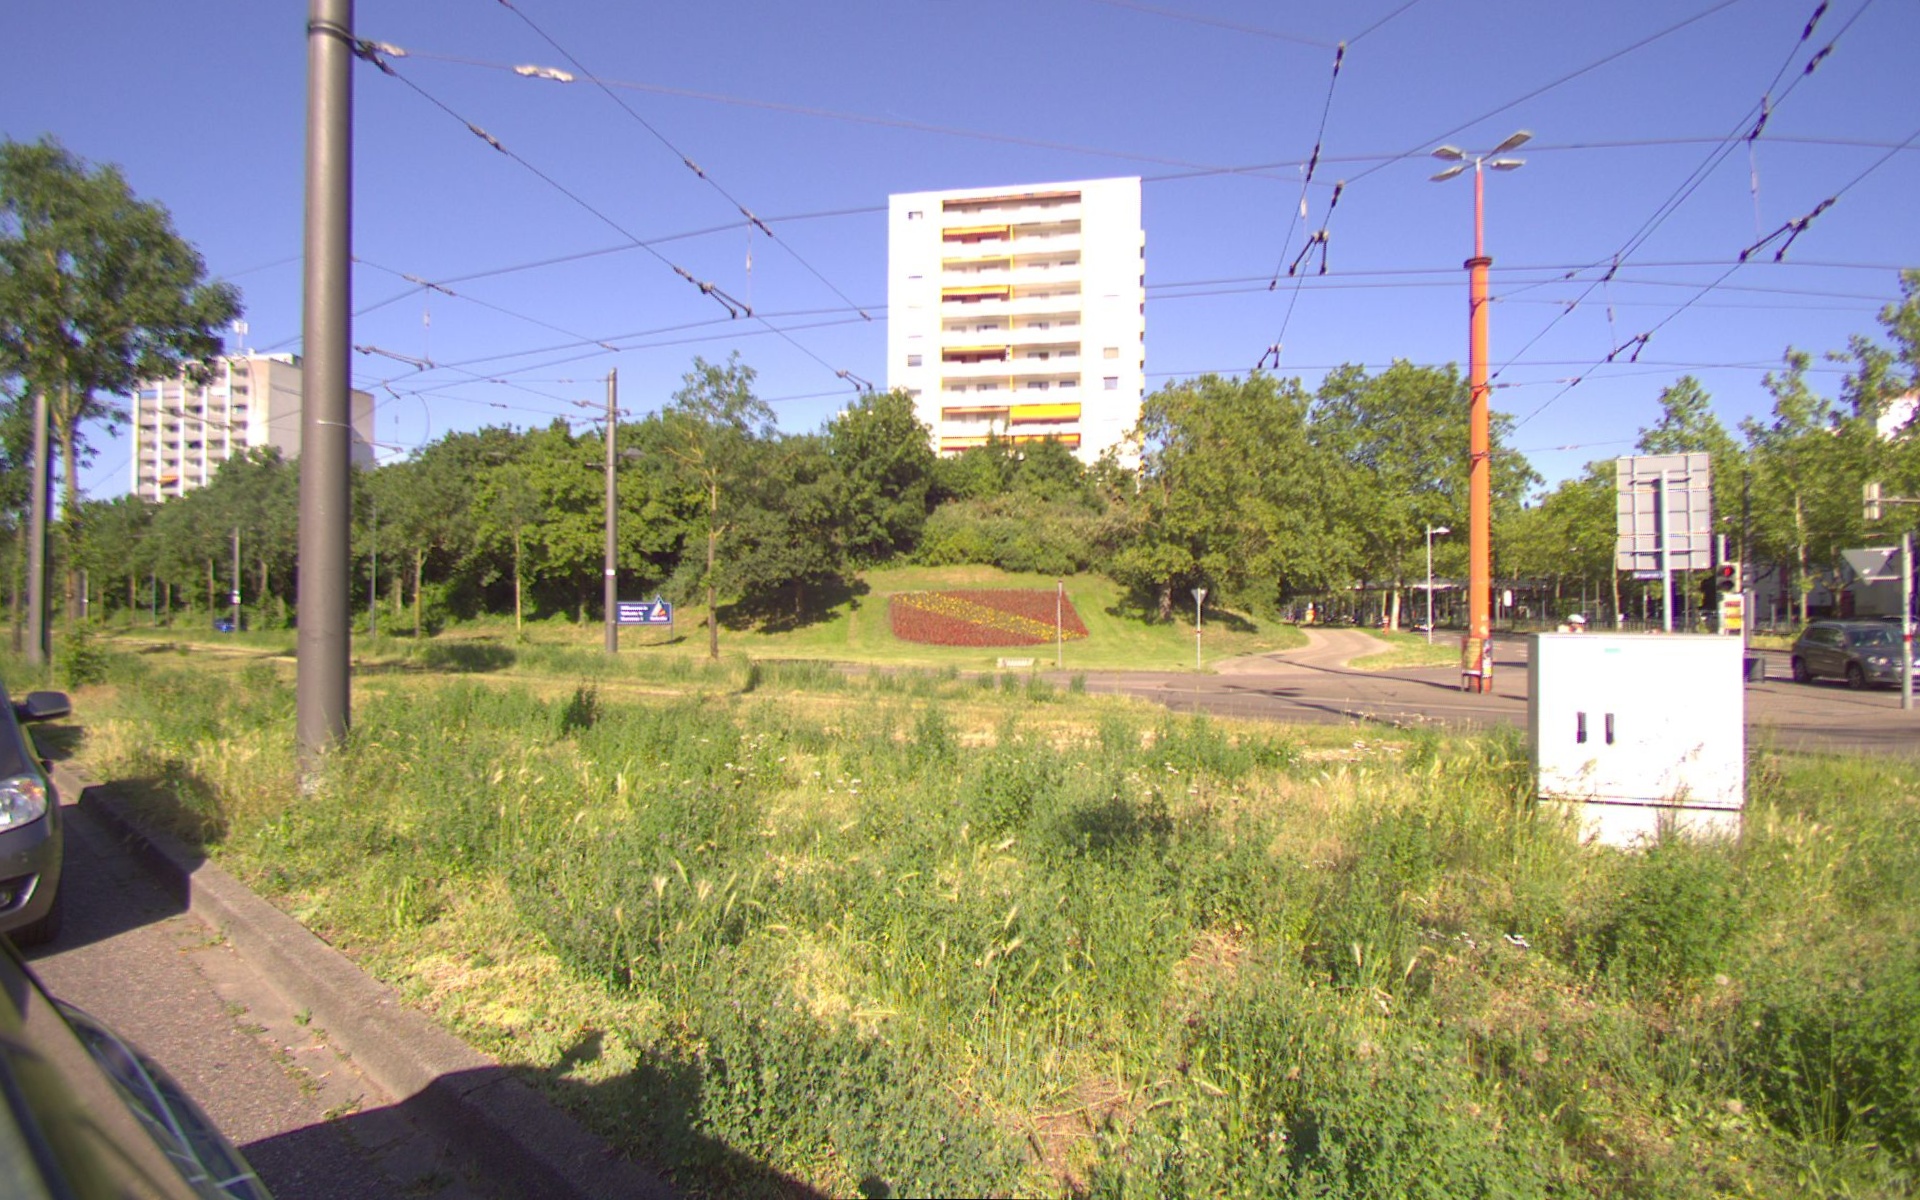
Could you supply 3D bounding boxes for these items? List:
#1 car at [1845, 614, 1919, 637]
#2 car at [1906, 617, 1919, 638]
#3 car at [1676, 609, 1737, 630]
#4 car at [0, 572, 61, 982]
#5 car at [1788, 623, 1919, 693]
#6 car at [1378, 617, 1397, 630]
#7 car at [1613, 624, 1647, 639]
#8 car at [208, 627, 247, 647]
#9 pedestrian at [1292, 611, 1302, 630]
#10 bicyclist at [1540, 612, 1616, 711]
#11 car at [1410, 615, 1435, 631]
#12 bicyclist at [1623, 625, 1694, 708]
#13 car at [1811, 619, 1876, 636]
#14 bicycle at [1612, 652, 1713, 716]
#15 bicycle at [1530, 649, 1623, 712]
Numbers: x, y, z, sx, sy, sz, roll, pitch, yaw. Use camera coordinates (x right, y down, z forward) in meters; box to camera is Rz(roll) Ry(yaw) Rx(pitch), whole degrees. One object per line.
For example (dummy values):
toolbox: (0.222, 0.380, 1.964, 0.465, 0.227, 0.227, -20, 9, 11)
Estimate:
car: (63.808, 1.738, 69.991, 1.589, 1.471, 3.656, -1, 0, -38)
car: (63.693, 1.771, 65.159, 1.472, 1.341, 3.746, -1, 0, -27)
car: (72.150, 1.933, 97.869, 1.909, 1.999, 4.350, 1, -2, -38)
car: (-5.818, 0.752, 4.887, 3.998, 1.652, 1.726, -1, 0, 41)
car: (23.022, 1.390, 25.415, 1.900, 1.507, 4.026, -1, 0, 15)
car: (53.624, 2.930, 126.951, 1.904, 1.507, 3.973, -1, 0, 20)
car: (68.846, 3.239, 104.039, 1.822, 1.514, 3.930, 0, -2, 15)
car: (-55.057, 2.749, 76.054, 3.908, 1.431, 1.557, -2, -1, 42)
pedestrian: (27.763, 1.713, 83.375, 0.682, 1.568, 0.984, -1, -2, 21)
bicyclist: (12.122, 1.191, 19.869, 0.880, 1.881, 0.924, -1, 0, -2)
car: (44.678, 2.251, 97.836, 1.905, 1.507, 3.971, -1, -1, 21)
bicyclist: (13.498, 1.264, 19.584, 0.710, 1.536, 0.924, -1, 0, 0)
car: (64.412, 1.983, 73.843, 1.425, 1.197, 3.423, -1, 0, -41)
bicycle: (13.511, 1.594, 19.534, 0.571, 1.079, 1.916, -1, 0, 0)
bicycle: (12.076, 1.547, 19.886, 0.571, 1.079, 1.917, -1, 0, -3)
